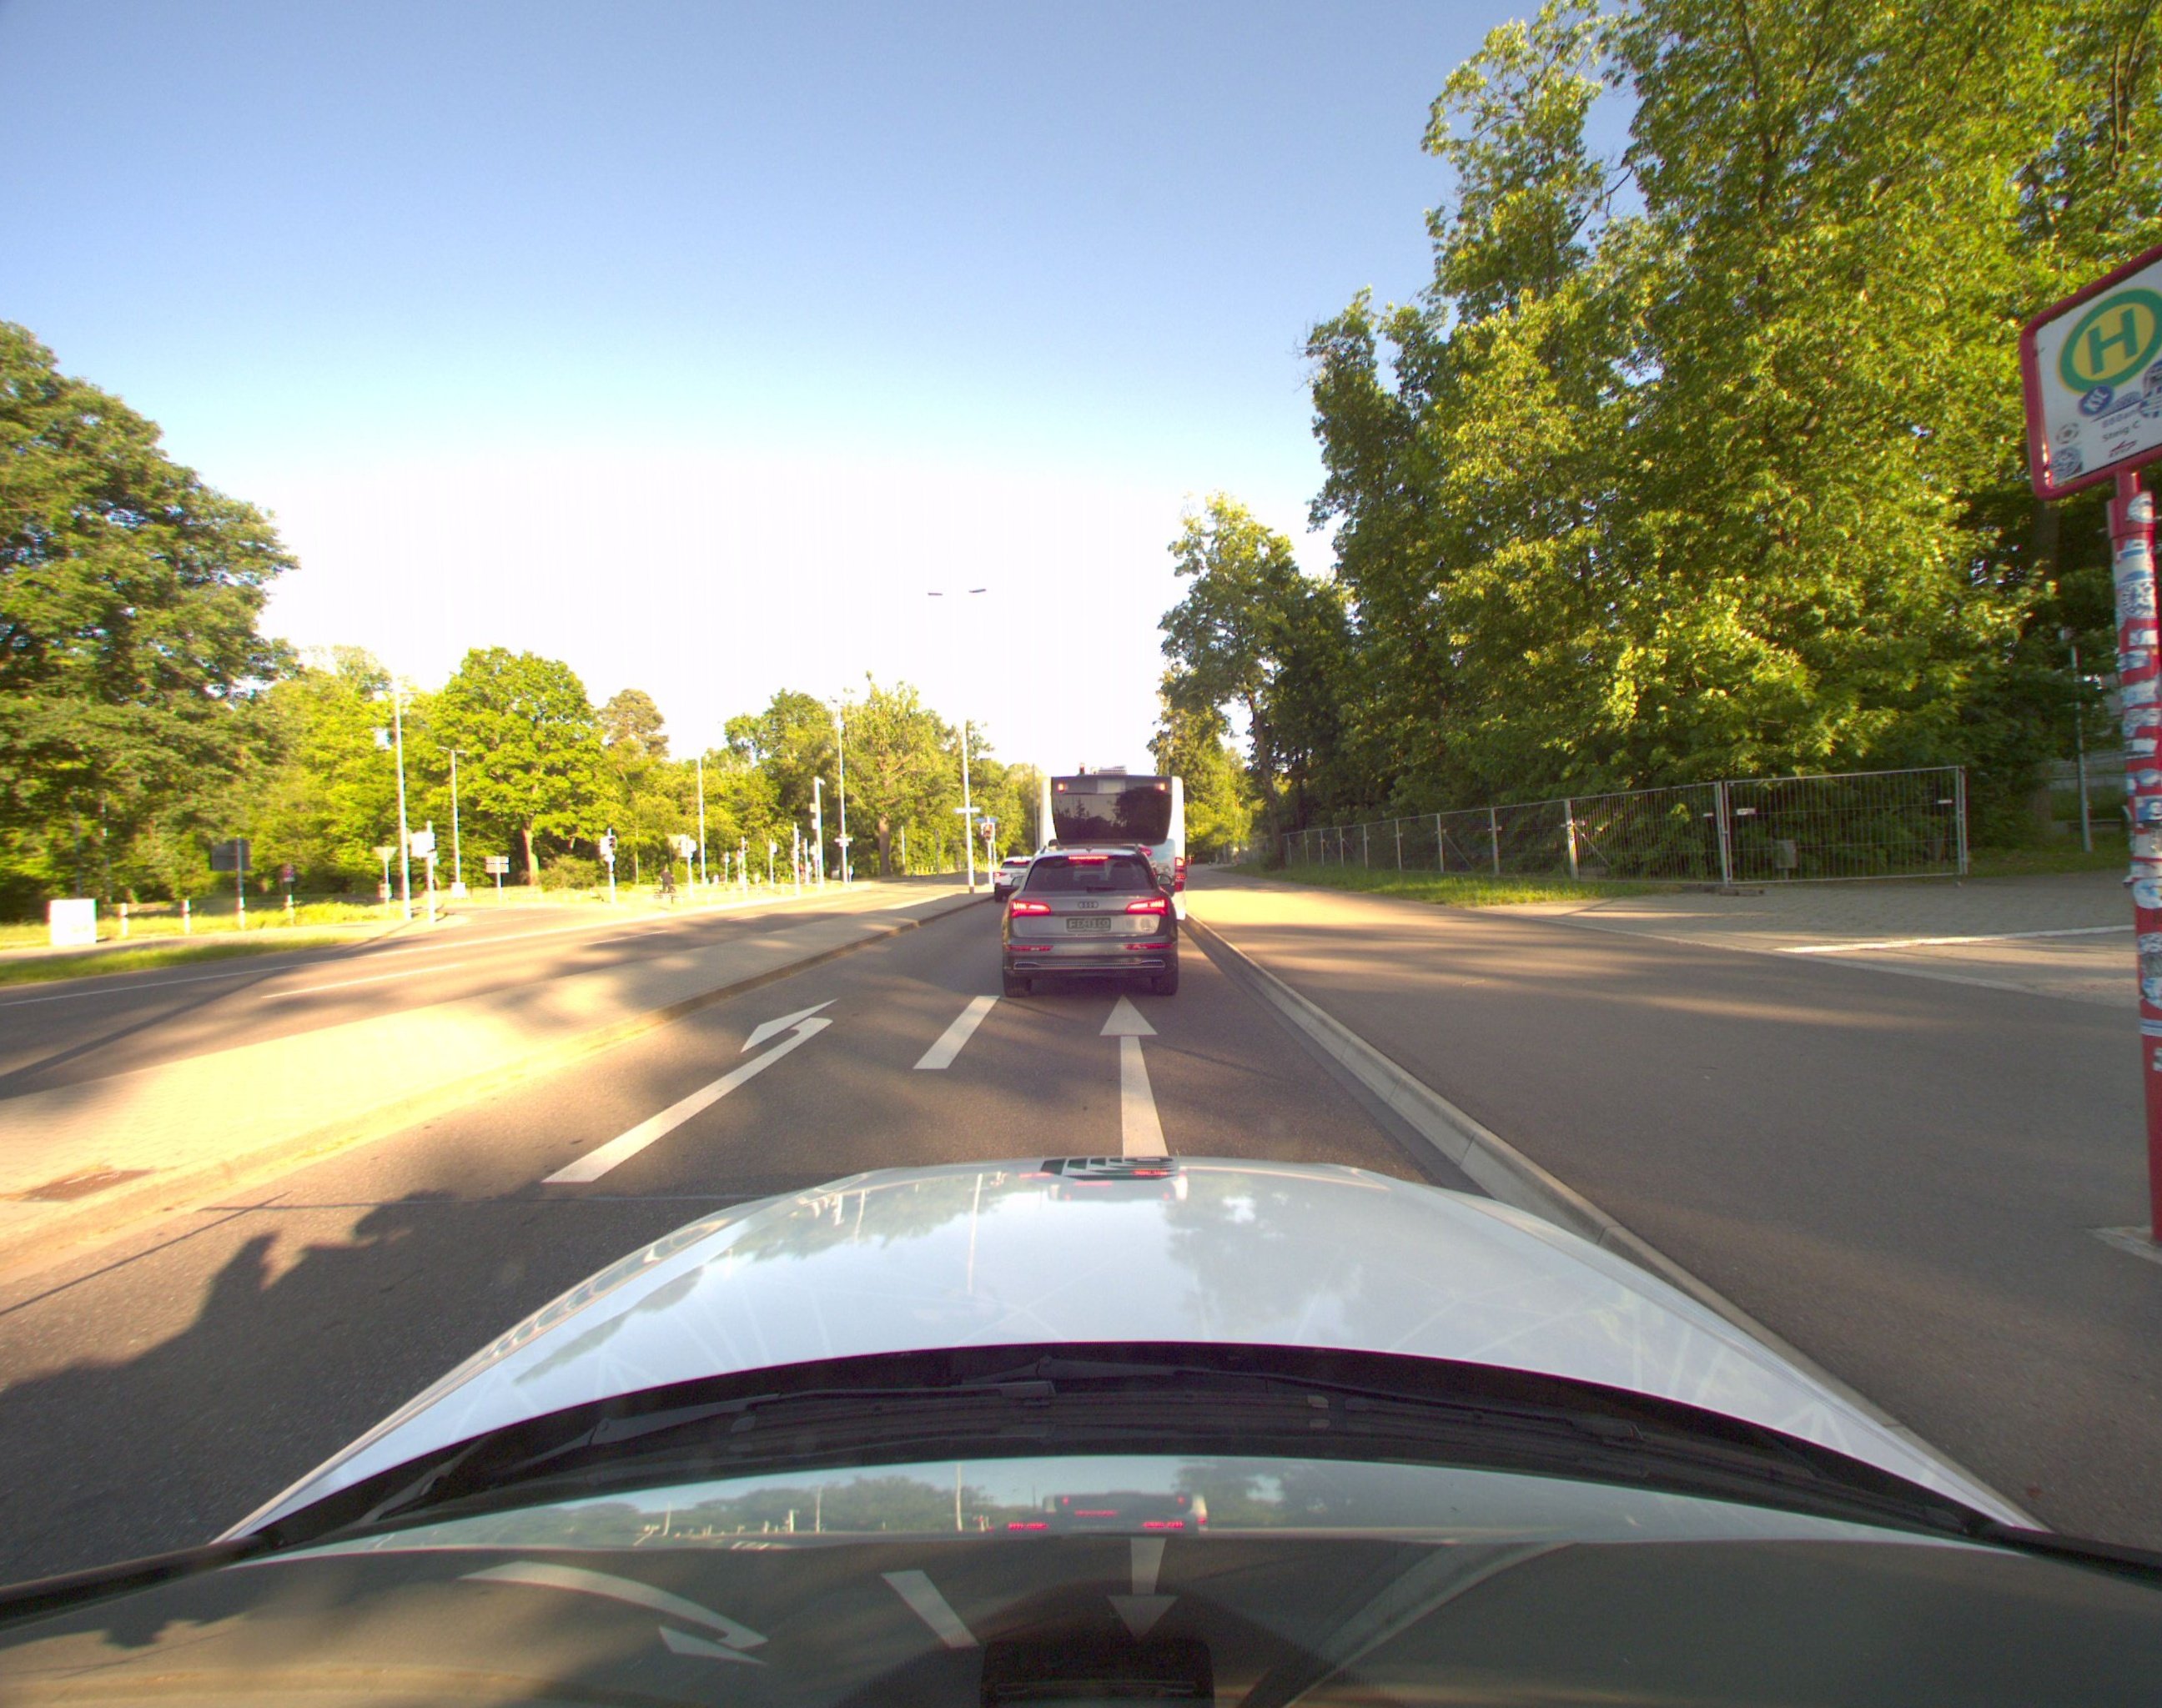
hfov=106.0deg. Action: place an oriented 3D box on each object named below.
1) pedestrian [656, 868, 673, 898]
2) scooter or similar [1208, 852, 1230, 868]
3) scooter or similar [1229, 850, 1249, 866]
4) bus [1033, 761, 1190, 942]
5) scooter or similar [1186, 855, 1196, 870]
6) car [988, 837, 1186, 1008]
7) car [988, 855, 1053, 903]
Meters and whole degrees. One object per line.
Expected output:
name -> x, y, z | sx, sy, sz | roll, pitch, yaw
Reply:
pedestrian -> -22.656, 1.575, 44.330 | 0.652, 1.560, 0.533 | -2, -1, -41
scooter or similar -> 13.445, 0.604, 79.286 | 2.025, 1.444, 0.601 | -3, 0, -23
scooter or similar -> 15.605, 0.396, 80.530 | 0.543, 1.567, 1.999 | -3, 0, -37
bus -> 0.659, 0.008, 18.392 | 2.585, 2.989, 9.330 | -1, -1, 2
scooter or similar -> 11.049, 0.857, 82.002 | 0.507, 1.444, 2.020 | -3, 0, -3
car -> 0.120, 0.667, 9.894 | 1.891, 1.632, 4.002 | -1, 0, 2
car -> -2.081, 0.835, 29.107 | 1.829, 1.518, 4.002 | -2, 0, 2
